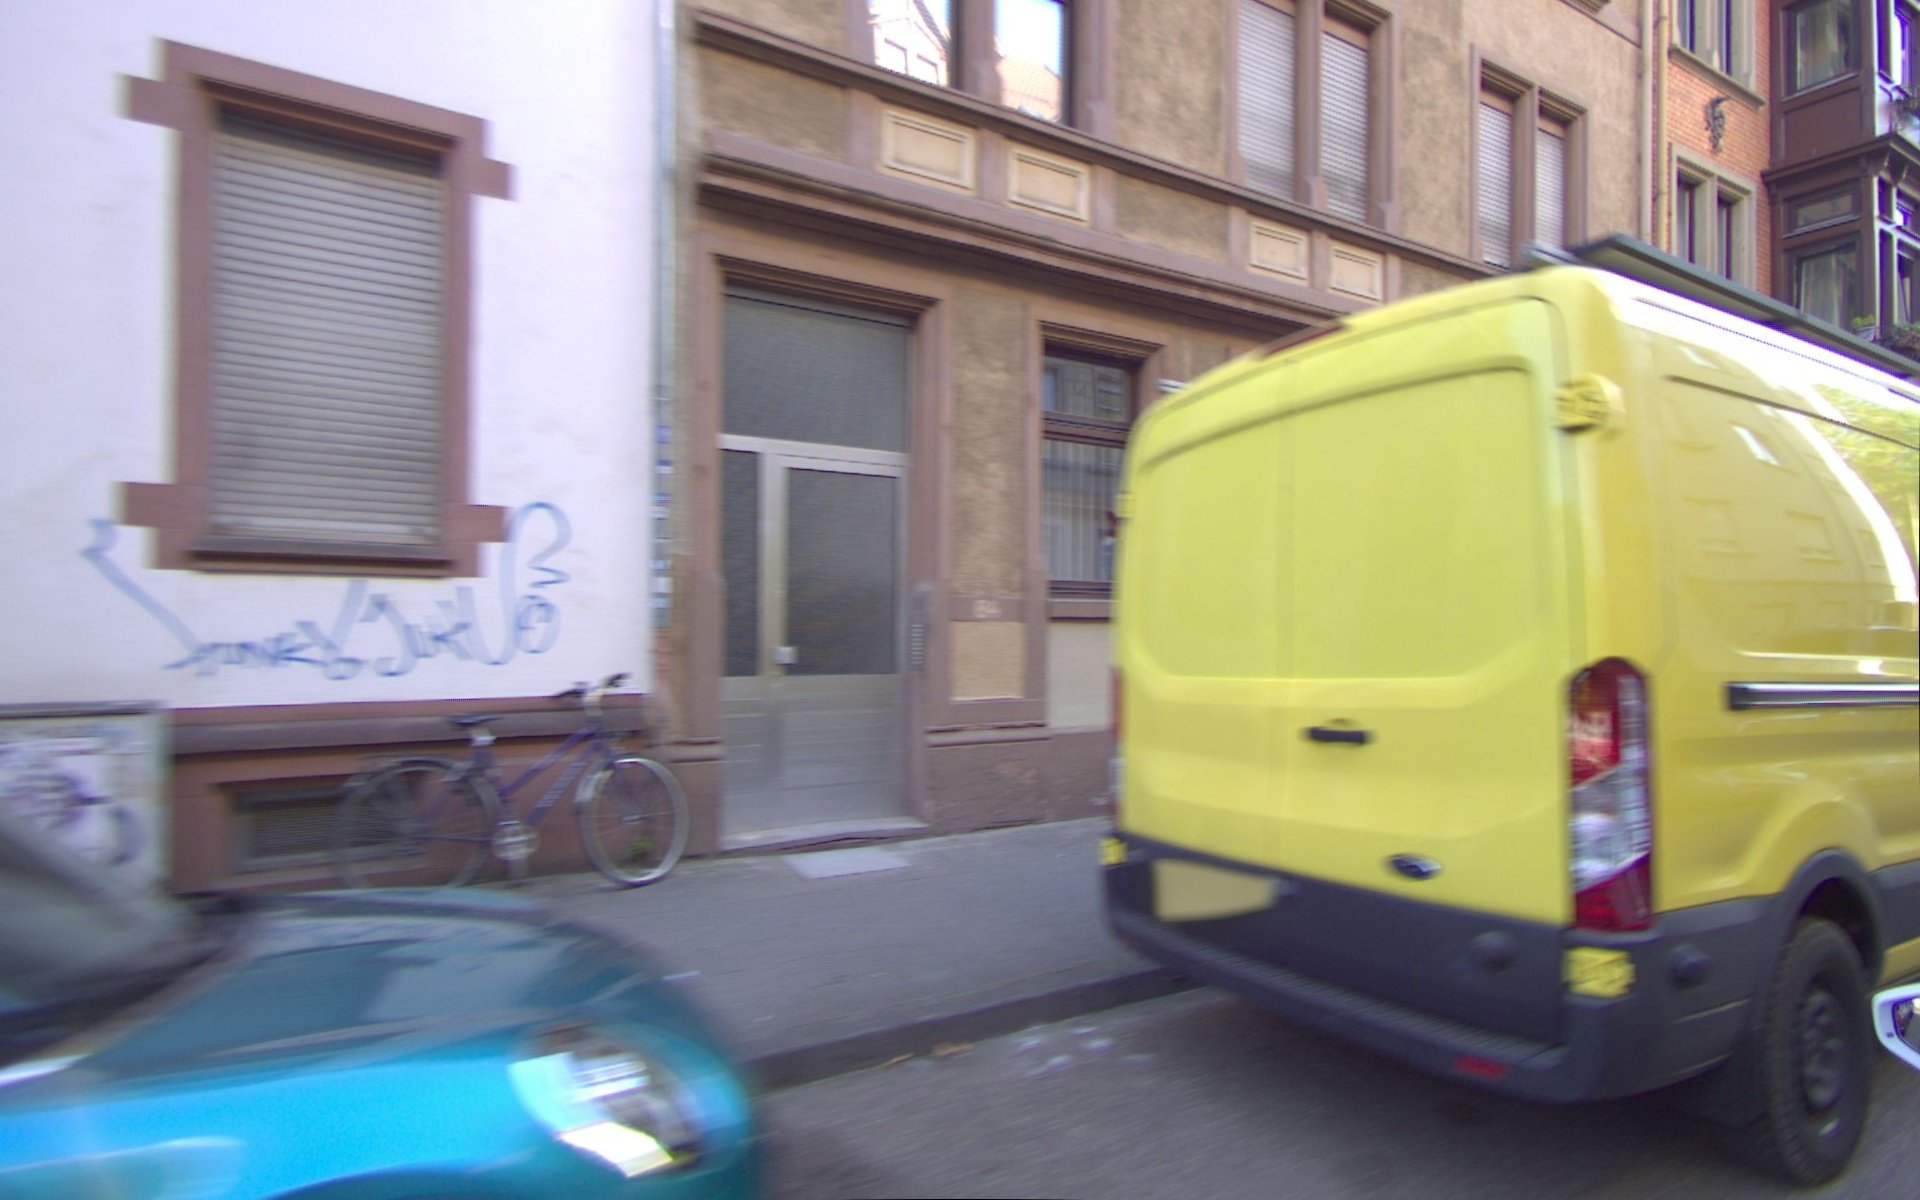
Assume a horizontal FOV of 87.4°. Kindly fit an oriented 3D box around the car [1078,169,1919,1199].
[{"bbox_3d":[3.527,0.412,4.648,5.811,2.540,2.165,1,-4,-31],"label":"car"}]

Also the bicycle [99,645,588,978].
[{"bbox_3d":[-2.648,0.831,4.523,1.743,1.227,0.670,1,-1,-30],"label":"bicycle"}]

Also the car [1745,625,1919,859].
[{"bbox_3d":[8.150,0.985,7.788,3.954,1.572,1.984,1,-2,-31],"label":"car"}]

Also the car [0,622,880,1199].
[{"bbox_3d":[-2.210,0.811,1.386,3.848,1.430,1.713,1,-6,-28],"label":"car"}]
